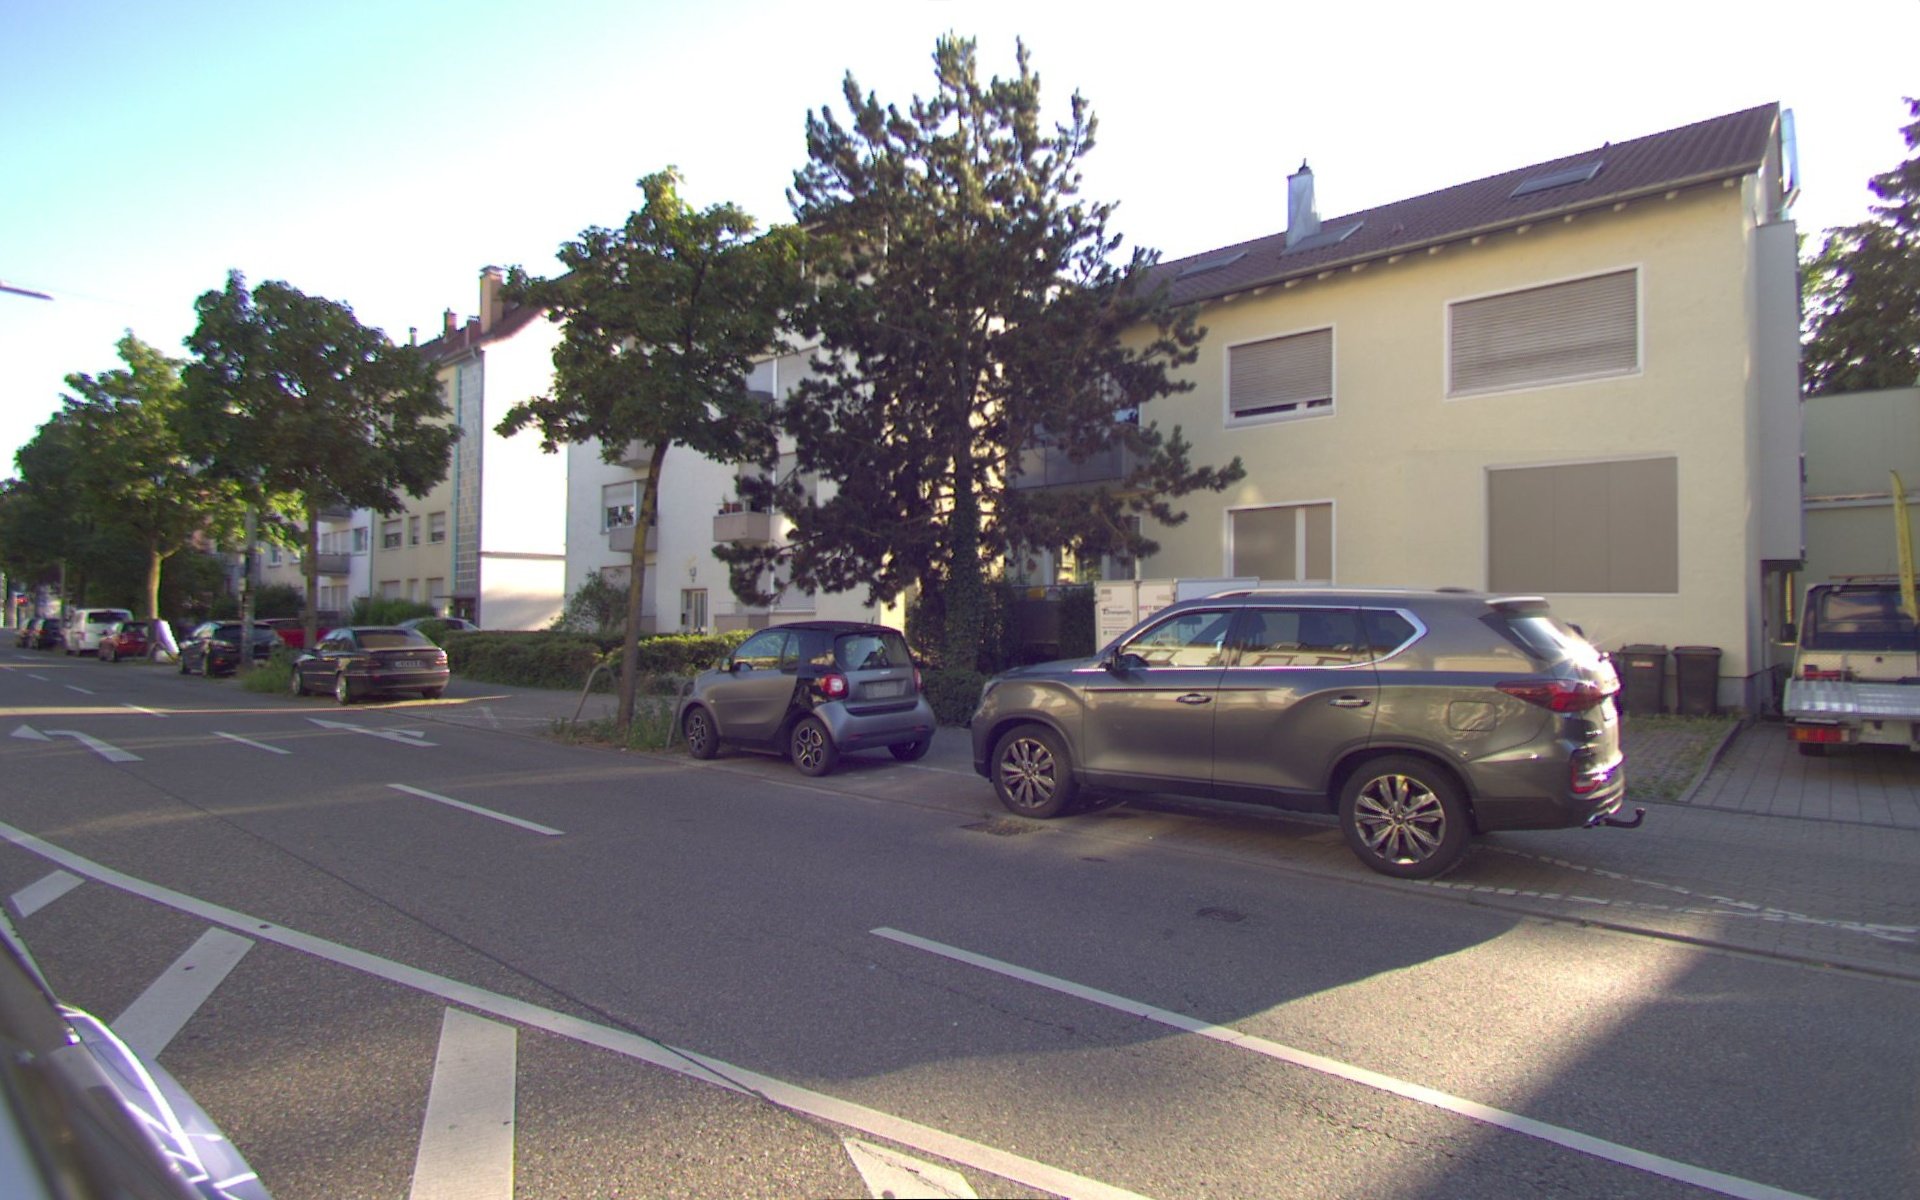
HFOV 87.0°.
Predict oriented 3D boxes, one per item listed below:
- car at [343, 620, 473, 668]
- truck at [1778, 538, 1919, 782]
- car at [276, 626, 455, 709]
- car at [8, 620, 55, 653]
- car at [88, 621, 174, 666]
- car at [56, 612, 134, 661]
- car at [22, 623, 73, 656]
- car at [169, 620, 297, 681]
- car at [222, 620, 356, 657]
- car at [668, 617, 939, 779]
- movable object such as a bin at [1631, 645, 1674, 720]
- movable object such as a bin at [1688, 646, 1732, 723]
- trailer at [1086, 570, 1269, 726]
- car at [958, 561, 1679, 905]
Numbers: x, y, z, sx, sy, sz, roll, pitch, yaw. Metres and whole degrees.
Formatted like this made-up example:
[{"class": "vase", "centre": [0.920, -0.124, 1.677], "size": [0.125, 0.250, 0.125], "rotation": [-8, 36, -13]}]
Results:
[{"class": "car", "centre": [-18.399, 1.449, 33.824], "size": [1.686, 1.535, 3.422], "rotation": [-1, -2, 42]}, {"class": "truck", "centre": [11.000, 0.628, 11.611], "size": [2.275, 2.202, 6.823], "rotation": [-1, -2, 41]}, {"class": "car", "centre": [-11.563, 1.229, 19.564], "size": [4.441, 1.418, 1.620], "rotation": [-1, -2, 41]}, {"class": "car", "centre": [-45.632, 1.758, 49.698], "size": [3.682, 1.475, 1.388], "rotation": [-1, 0, 43]}, {"class": "car", "centre": [-28.903, 1.486, 35.264], "size": [3.634, 1.475, 1.717], "rotation": [-1, -2, 41]}, {"class": "car", "centre": [-34.111, 1.410, 39.888], "size": [4.190, 1.823, 1.717], "rotation": [-1, -2, 41]}, {"class": "car", "centre": [-42.383, 1.818, 46.981], "size": [3.682, 1.416, 1.388], "rotation": [-1, 0, 43]}, {"class": "car", "centre": [-19.340, 1.309, 26.876], "size": [3.997, 1.497, 1.838], "rotation": [-1, -3, 40]}, {"class": "car", "centre": [-28.760, 1.622, 43.538], "size": [1.735, 1.416, 4.516], "rotation": [-1, 0, 31]}, {"class": "car", "centre": [-1.778, 0.982, 11.280], "size": [2.747, 1.567, 1.557], "rotation": [-1, -2, 40]}, {"class": "movable object such as a bin", "centre": [9.765, 1.152, 14.265], "size": [0.450, 1.026, 0.497], "rotation": [-1, -3, 40]}, {"class": "movable object such as a bin", "centre": [10.278, 1.144, 13.869], "size": [0.450, 1.026, 0.497], "rotation": [-1, -3, 40]}, {"class": "trailer", "centre": [3.221, 0.670, 14.734], "size": [1.551, 2.029, 2.746], "rotation": [-1, -2, 39]}, {"class": "car", "centre": [2.385, 0.745, 7.548], "size": [4.722, 1.793, 1.868], "rotation": [-1, -2, 40]}]
